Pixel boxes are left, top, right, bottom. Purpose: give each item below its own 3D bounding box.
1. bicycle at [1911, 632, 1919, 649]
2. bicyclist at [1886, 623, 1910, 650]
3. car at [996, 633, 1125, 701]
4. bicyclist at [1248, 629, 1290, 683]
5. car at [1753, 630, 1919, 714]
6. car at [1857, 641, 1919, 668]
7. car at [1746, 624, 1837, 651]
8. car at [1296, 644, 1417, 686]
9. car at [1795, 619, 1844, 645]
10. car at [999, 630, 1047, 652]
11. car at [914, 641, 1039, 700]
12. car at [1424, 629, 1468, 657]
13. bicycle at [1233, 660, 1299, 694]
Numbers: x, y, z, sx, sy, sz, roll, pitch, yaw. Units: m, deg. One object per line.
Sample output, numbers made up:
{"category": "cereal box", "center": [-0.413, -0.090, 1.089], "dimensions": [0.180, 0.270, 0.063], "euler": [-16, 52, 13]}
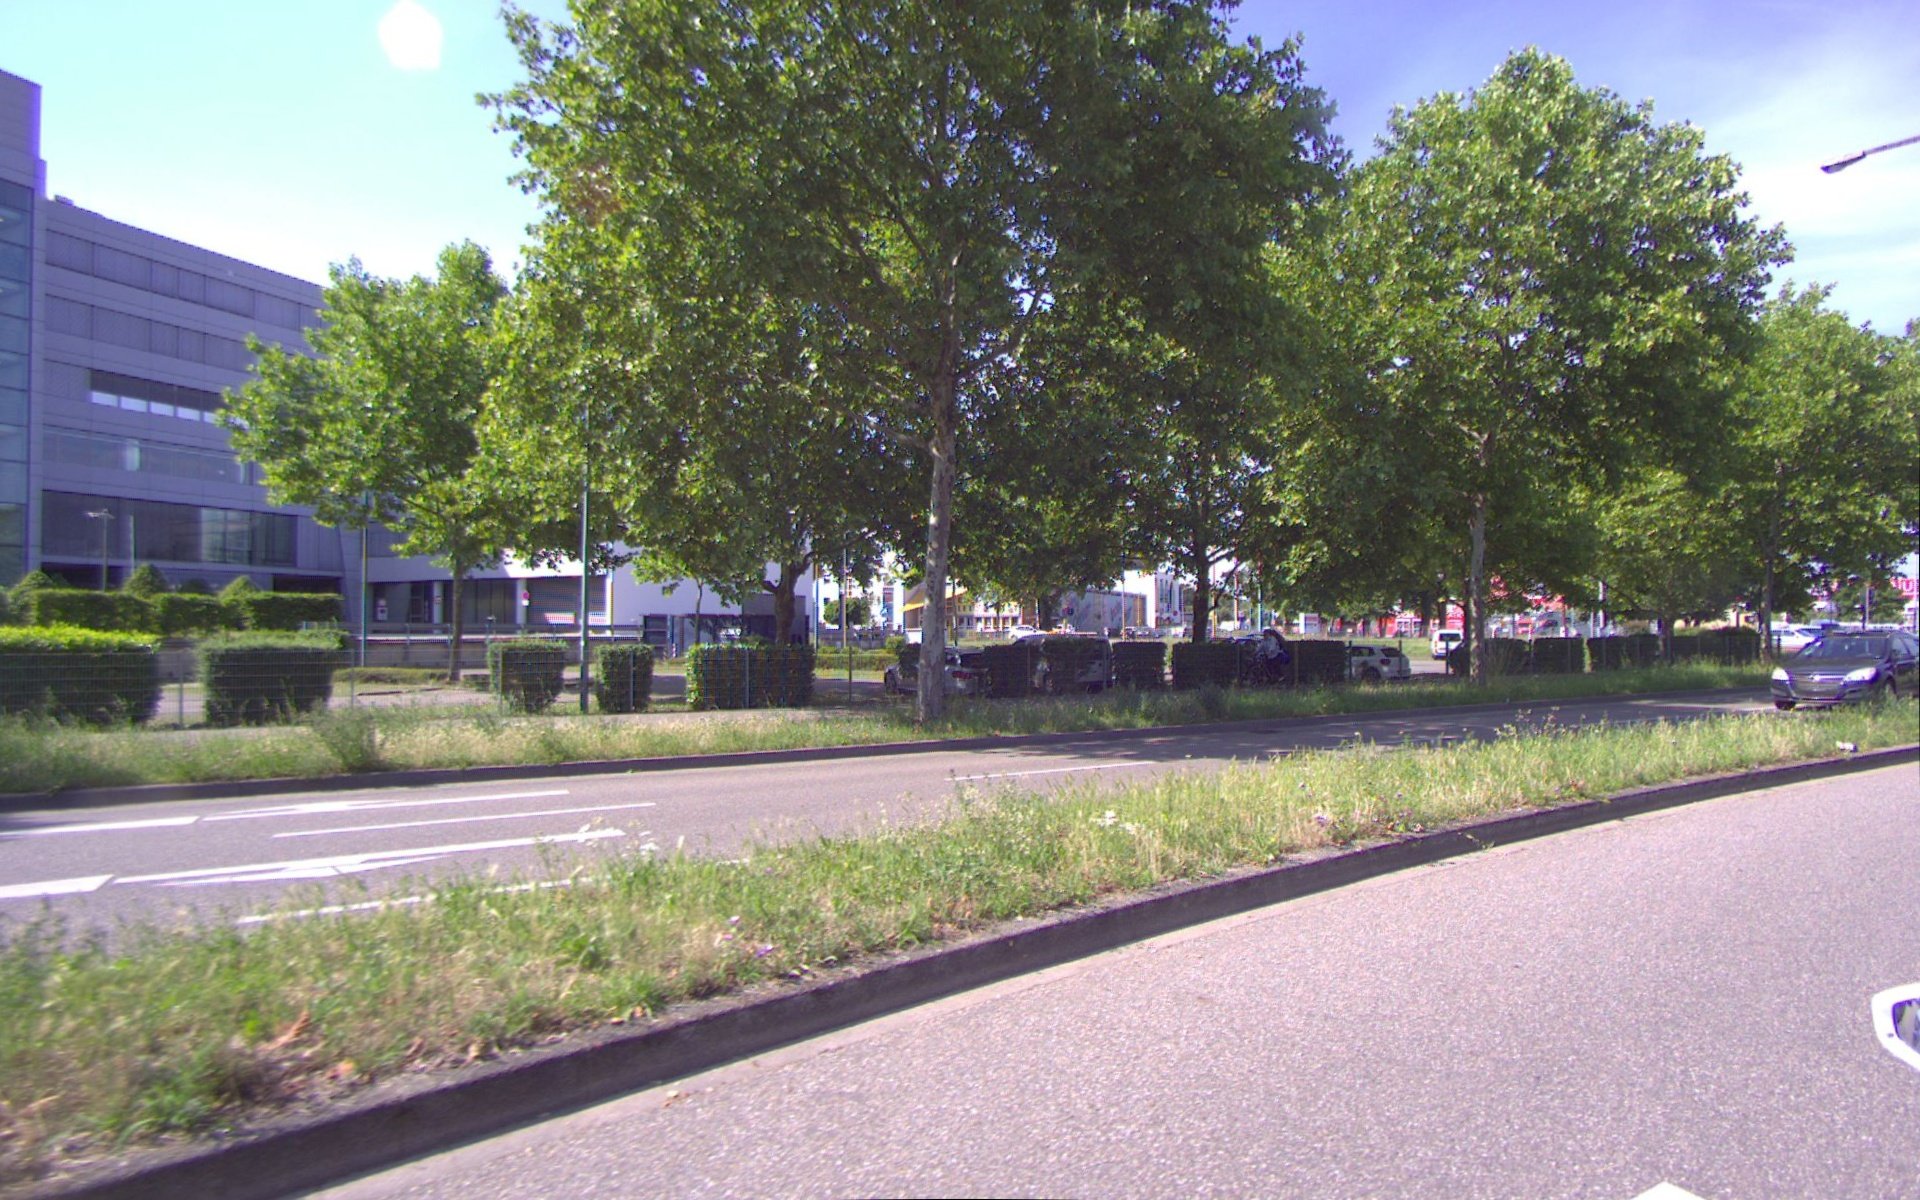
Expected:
{"category": "bicycle", "center": [61.514, 2.547, 63.444], "dimensions": [1.917, 0.996, 0.788], "euler": [-2, 0, 24]}
{"category": "bicyclist", "center": [59.330, 2.292, 63.536], "dimensions": [0.883, 1.668, 0.787], "euler": [-2, 0, 24]}
{"category": "car", "center": [2.943, 1.953, 30.235], "dimensions": [2.128, 1.847, 3.974], "euler": [1, -1, -26]}
{"category": "bicyclist", "center": [8.824, 1.581, 28.661], "dimensions": [0.931, 1.504, 0.678], "euler": [1, -2, -30]}
{"category": "car", "center": [17.499, 1.335, 19.595], "dimensions": [4.233, 1.488, 1.760], "euler": [1, -3, -31]}
{"category": "car", "center": [54.153, 3.081, 57.594], "dimensions": [1.731, 1.407, 3.999], "euler": [-1, -1, -3]}
{"category": "car", "center": [52.651, 2.379, 63.706], "dimensions": [1.695, 1.624, 4.148], "euler": [0, -2, -18]}
{"category": "car", "center": [14.849, 2.405, 37.779], "dimensions": [1.787, 1.432, 3.961], "euler": [2, -2, -35]}
{"category": "car", "center": [86.485, 3.241, 101.135], "dimensions": [1.960, 2.566, 4.642], "euler": [-1, -2, 16]}
{"category": "car", "center": [5.667, 3.666, 90.364], "dimensions": [3.925, 1.795, 1.845], "euler": [-2, 0, 25]}
{"category": "car", "center": [0.370, 1.908, 27.993], "dimensions": [1.751, 1.483, 3.970], "euler": [1, -2, -29]}
{"category": "car", "center": [30.112, 2.675, 62.335], "dimensions": [1.961, 1.687, 4.845], "euler": [-1, -2, 21]}
{"category": "bicycle", "center": [8.707, 2.174, 28.567], "dimensions": [1.903, 0.877, 0.686], "euler": [1, -2, -31]}
